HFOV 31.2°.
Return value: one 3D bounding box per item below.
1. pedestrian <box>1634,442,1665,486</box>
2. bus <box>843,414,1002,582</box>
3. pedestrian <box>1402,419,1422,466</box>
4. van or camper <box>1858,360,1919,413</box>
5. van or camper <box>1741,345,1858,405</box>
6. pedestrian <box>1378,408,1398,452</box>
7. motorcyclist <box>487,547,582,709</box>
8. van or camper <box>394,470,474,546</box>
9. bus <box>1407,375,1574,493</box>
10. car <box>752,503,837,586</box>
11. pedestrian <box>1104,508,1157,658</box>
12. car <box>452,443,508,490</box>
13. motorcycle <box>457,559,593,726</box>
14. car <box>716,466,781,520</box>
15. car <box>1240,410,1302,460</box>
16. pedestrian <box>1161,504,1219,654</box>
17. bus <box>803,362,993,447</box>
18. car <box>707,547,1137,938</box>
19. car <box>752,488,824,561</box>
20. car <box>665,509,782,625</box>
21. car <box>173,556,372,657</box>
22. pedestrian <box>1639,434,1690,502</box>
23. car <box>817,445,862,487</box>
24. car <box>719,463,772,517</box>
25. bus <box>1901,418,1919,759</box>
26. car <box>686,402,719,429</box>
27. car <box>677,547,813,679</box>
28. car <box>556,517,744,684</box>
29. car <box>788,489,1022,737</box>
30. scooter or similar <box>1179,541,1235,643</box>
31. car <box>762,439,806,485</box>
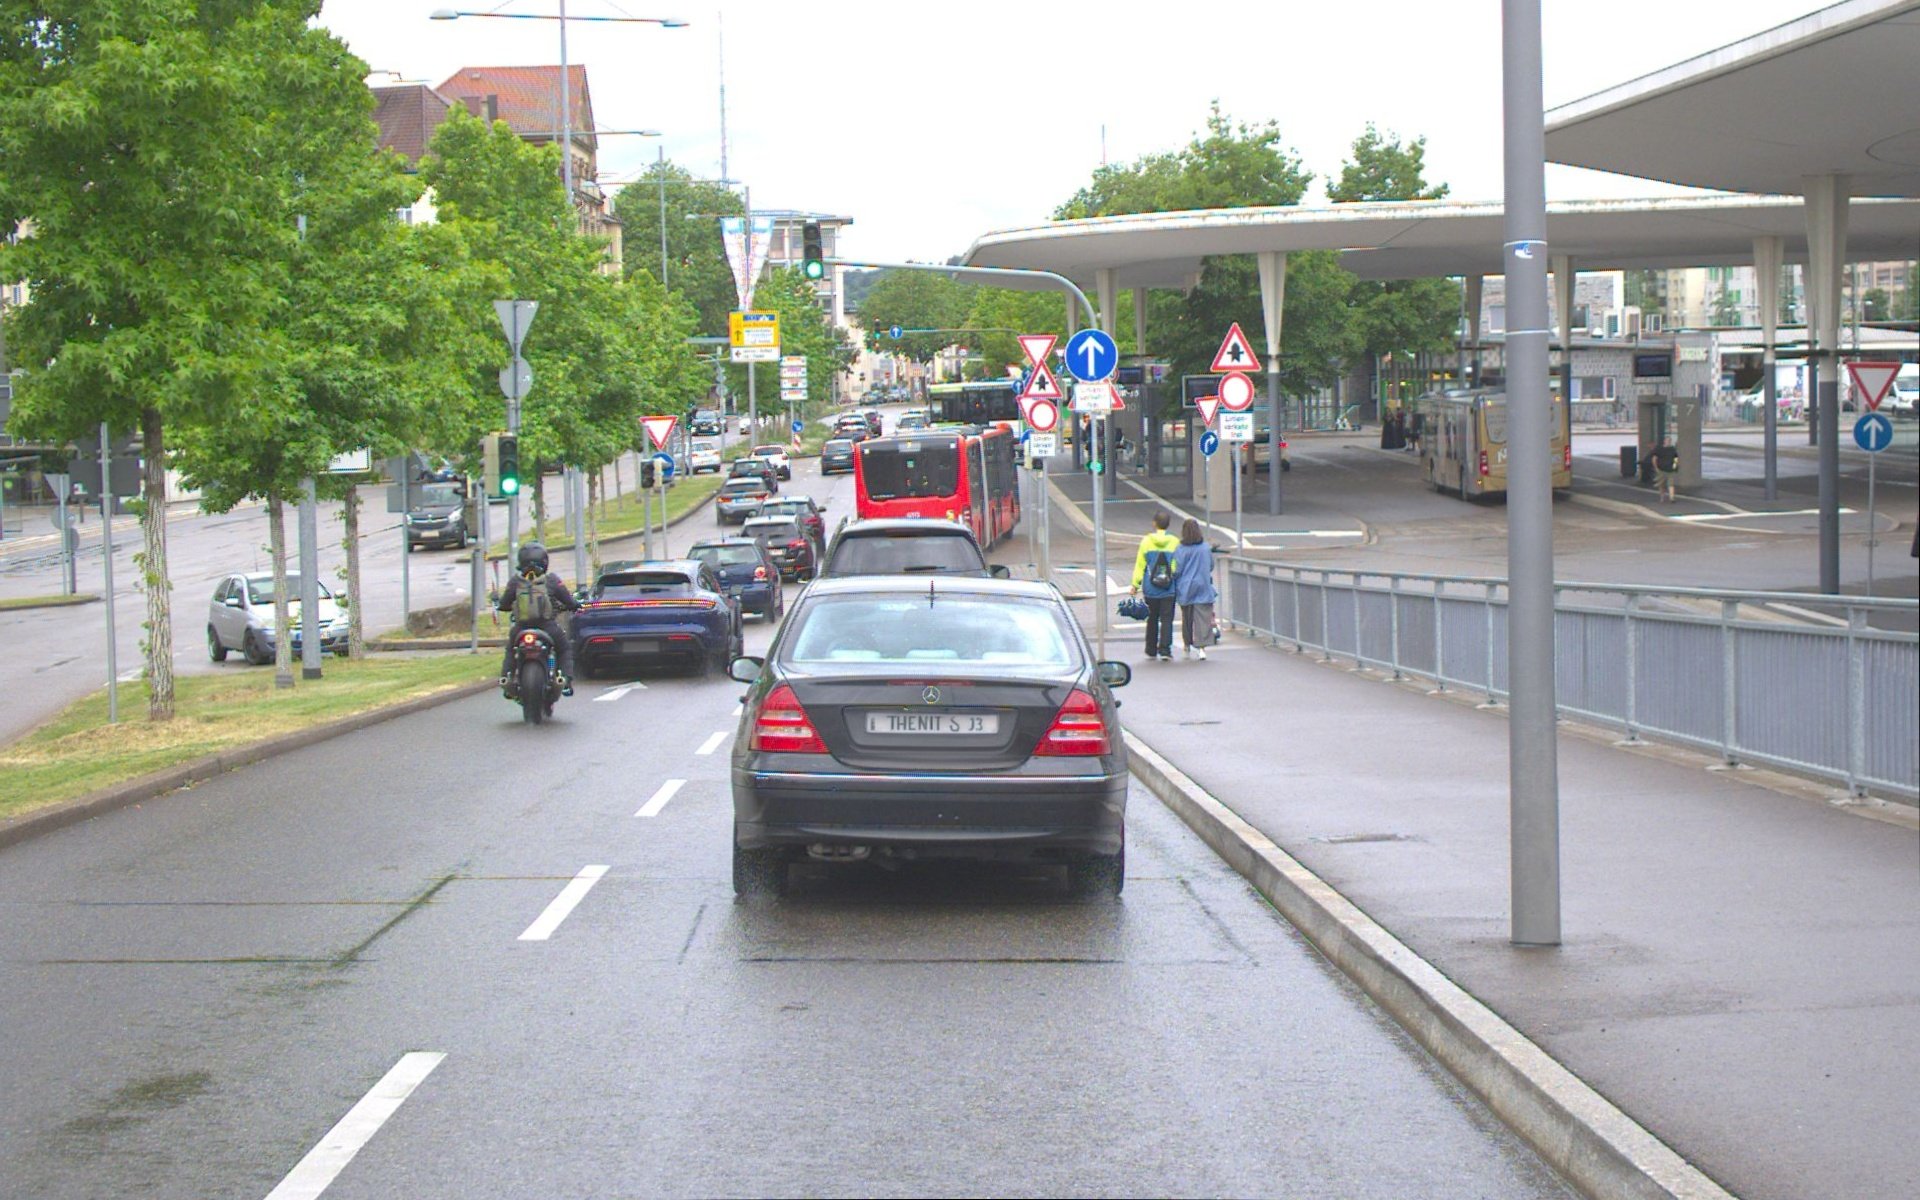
[{"bbox_3d":[20.049,-3.953,99.979,0.793,1.222,0.633,-2,4,17],"label":"pedestrian"},{"bbox_3d":[-0.808,-2.510,80.417,3.286,3.280,10.880,-3,4,0],"label":"bus"},{"bbox_3d":[16.668,-5.815,126.889,0.560,1.686,0.614,-2,4,-7],"label":"pedestrian"},{"bbox_3d":[39.939,-9.062,146.050,1.993,2.095,5.481,0,2,-1],"label":"van or camper"},{"bbox_3d":[37.164,-9.962,152.285,4.607,2.549,2.119,0,2,-2],"label":"van or camper"},{"bbox_3d":[16.972,-6.754,136.355,0.580,1.710,0.560,1,0,35],"label":"pedestrian"},{"bbox_3d":[-3.757,0.240,30.404,0.641,1.342,0.689,-3,4,3],"label":"motorcyclist"},{"bbox_3d":[-16.125,-2.785,105.252,2.216,2.065,5.285,-4,1,-9],"label":"van or camper"},{"bbox_3d":[15.359,-4.960,100.416,2.721,3.032,12.092,-3,4,-1],"label":"bus"},{"bbox_3d":[-3.649,-1.253,76.167,1.575,1.499,3.872,-4,4,0],"label":"car"},{"bbox_3d":[1.908,-0.195,38.514,0.522,1.664,0.580,-1,1,-1],"label":"pedestrian"},{"bbox_3d":[-19.795,-5.544,141.965,1.908,1.656,4.860,-2,5,-4],"label":"car"},{"bbox_3d":[-3.815,0.352,30.305,0.793,1.257,1.855,-4,4,3],"label":"motorcycle"},{"bbox_3d":[-6.735,-3.399,109.700,1.865,1.678,4.000,1,1,-1],"label":"car"},{"bbox_3d":[11.287,-6.010,125.092,1.711,1.656,4.241,-2,4,-2],"label":"car"},{"bbox_3d":[2.574,-0.235,38.566,0.589,1.665,0.580,0,-1,-1],"label":"pedestrian"},{"bbox_3d":[-3.293,-10.022,177.165,2.839,3.973,11.860,-6,5,-39],"label":"bus"},{"bbox_3d":[-0.192,0.540,15.931,1.697,1.457,4.304,-1,2,-1],"label":"car"},{"bbox_3d":[-4.381,-1.954,87.976,1.575,1.561,3.872,-5,4,0],"label":"car"},{"bbox_3d":[-4.042,-0.602,59.217,1.676,1.617,3.872,-5,4,0],"label":"car"},{"bbox_3d":[-11.001,0.083,54.849,1.632,1.443,3.876,-5,4,-34],"label":"car"},{"bbox_3d":[18.146,-3.396,88.581,0.717,1.678,1.021,-6,4,-26],"label":"pedestrian"},{"bbox_3d":[-5.164,-5.741,147.567,1.865,1.678,4.000,1,1,-1],"label":"car"},{"bbox_3d":[-8.087,-4.135,129.897,1.797,1.900,3.640,1,1,-1],"label":"car"},{"bbox_3d":[11.078,0.405,28.369,2.844,3.349,12.430,1,5,-1],"label":"bus"},{"bbox_3d":[-16.648,-11.959,222.506,1.780,1.561,3.431,-5,4,0],"label":"car"},{"bbox_3d":[-3.216,0.165,52.037,1.741,1.561,3.872,-5,4,0],"label":"car"},{"bbox_3d":[-3.715,-0.046,41.888,1.816,1.565,4.405,-5,4,0],"label":"car"},{"bbox_3d":[-0.526,0.043,33.286,1.957,1.869,4.875,-5,4,0],"label":"car"},{"bbox_3d":[3.042,-0.109,42.501,0.463,1.217,1.859,-3,1,-1],"label":"scooter or similar"},{"bbox_3d":[-7.380,-5.795,144.452,1.642,1.798,3.640,1,1,-1],"label":"car"}]
